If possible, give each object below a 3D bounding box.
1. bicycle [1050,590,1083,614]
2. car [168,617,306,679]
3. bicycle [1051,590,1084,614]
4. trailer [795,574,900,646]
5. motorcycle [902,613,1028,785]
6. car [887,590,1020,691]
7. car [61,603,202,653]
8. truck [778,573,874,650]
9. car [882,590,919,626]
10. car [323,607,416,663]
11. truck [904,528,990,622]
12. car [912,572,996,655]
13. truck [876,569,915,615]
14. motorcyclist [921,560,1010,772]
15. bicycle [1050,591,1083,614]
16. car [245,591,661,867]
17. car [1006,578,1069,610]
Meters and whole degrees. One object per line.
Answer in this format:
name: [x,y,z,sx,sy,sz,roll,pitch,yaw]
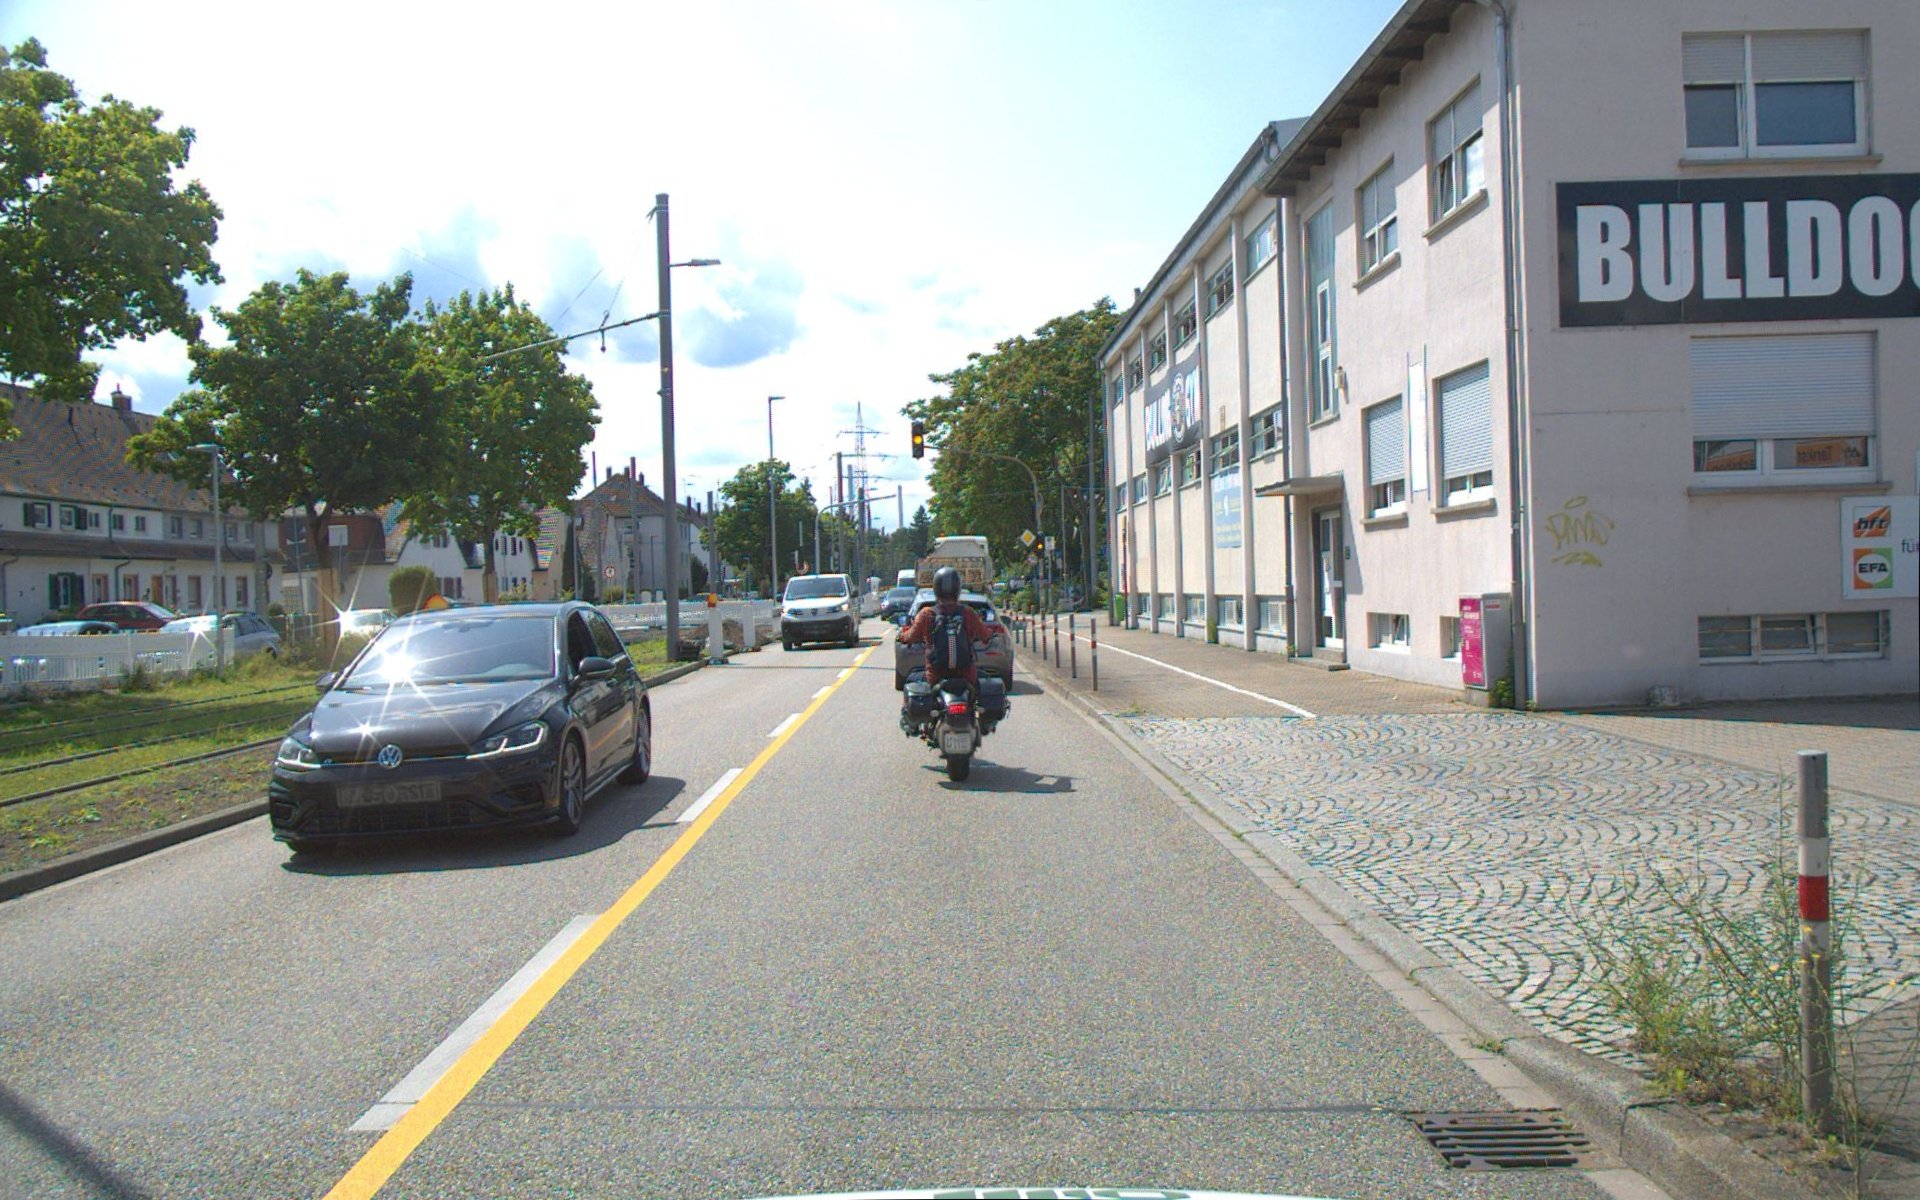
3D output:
bicycle: [5.371,0.091,83.315,1.672,1.192,0.438,0,0,4]
car: [-16.165,1.046,37.172,1.472,1.197,3.747,-2,1,-1]
bicycle: [5.431,0.098,83.769,1.672,1.192,0.438,0,0,4]
trailer: [-3.191,0.262,48.251,2.019,1.867,5.489,-4,0,6]
motorcycle: [0.019,0.738,13.391,0.923,1.221,2.472,0,0,-1]
car: [-0.185,0.570,25.655,1.698,1.428,4.082,1,0,-5]
car: [-28.510,0.950,56.989,3.906,1.536,1.725,-2,0,-2]
truck: [-3.514,0.248,44.319,1.781,1.943,5.119,0,1,4]
car: [-2.690,0.363,75.487,1.611,1.524,4.268,-1,1,-1]
car: [-16.880,0.971,47.468,1.511,1.400,4.246,-3,1,-7]
truck: [-0.376,-0.850,60.956,2.906,3.228,7.765,0,0,2]
car: [-0.099,0.269,39.743,1.862,1.742,4.720,-2,2,1]
truck: [-3.923,-0.516,100.910,2.050,2.519,5.196,-3,2,0]
motorcyclist: [0.039,0.507,13.088,0.684,1.632,0.692,0,0,-1]
bicycle: [5.410,0.115,84.277,1.672,1.192,0.438,0,0,4]
car: [-3.206,0.729,11.255,1.658,1.437,3.858,-4,0,-2]
car: [4.859,-0.375,103.312,1.772,1.959,3.972,0,0,44]
